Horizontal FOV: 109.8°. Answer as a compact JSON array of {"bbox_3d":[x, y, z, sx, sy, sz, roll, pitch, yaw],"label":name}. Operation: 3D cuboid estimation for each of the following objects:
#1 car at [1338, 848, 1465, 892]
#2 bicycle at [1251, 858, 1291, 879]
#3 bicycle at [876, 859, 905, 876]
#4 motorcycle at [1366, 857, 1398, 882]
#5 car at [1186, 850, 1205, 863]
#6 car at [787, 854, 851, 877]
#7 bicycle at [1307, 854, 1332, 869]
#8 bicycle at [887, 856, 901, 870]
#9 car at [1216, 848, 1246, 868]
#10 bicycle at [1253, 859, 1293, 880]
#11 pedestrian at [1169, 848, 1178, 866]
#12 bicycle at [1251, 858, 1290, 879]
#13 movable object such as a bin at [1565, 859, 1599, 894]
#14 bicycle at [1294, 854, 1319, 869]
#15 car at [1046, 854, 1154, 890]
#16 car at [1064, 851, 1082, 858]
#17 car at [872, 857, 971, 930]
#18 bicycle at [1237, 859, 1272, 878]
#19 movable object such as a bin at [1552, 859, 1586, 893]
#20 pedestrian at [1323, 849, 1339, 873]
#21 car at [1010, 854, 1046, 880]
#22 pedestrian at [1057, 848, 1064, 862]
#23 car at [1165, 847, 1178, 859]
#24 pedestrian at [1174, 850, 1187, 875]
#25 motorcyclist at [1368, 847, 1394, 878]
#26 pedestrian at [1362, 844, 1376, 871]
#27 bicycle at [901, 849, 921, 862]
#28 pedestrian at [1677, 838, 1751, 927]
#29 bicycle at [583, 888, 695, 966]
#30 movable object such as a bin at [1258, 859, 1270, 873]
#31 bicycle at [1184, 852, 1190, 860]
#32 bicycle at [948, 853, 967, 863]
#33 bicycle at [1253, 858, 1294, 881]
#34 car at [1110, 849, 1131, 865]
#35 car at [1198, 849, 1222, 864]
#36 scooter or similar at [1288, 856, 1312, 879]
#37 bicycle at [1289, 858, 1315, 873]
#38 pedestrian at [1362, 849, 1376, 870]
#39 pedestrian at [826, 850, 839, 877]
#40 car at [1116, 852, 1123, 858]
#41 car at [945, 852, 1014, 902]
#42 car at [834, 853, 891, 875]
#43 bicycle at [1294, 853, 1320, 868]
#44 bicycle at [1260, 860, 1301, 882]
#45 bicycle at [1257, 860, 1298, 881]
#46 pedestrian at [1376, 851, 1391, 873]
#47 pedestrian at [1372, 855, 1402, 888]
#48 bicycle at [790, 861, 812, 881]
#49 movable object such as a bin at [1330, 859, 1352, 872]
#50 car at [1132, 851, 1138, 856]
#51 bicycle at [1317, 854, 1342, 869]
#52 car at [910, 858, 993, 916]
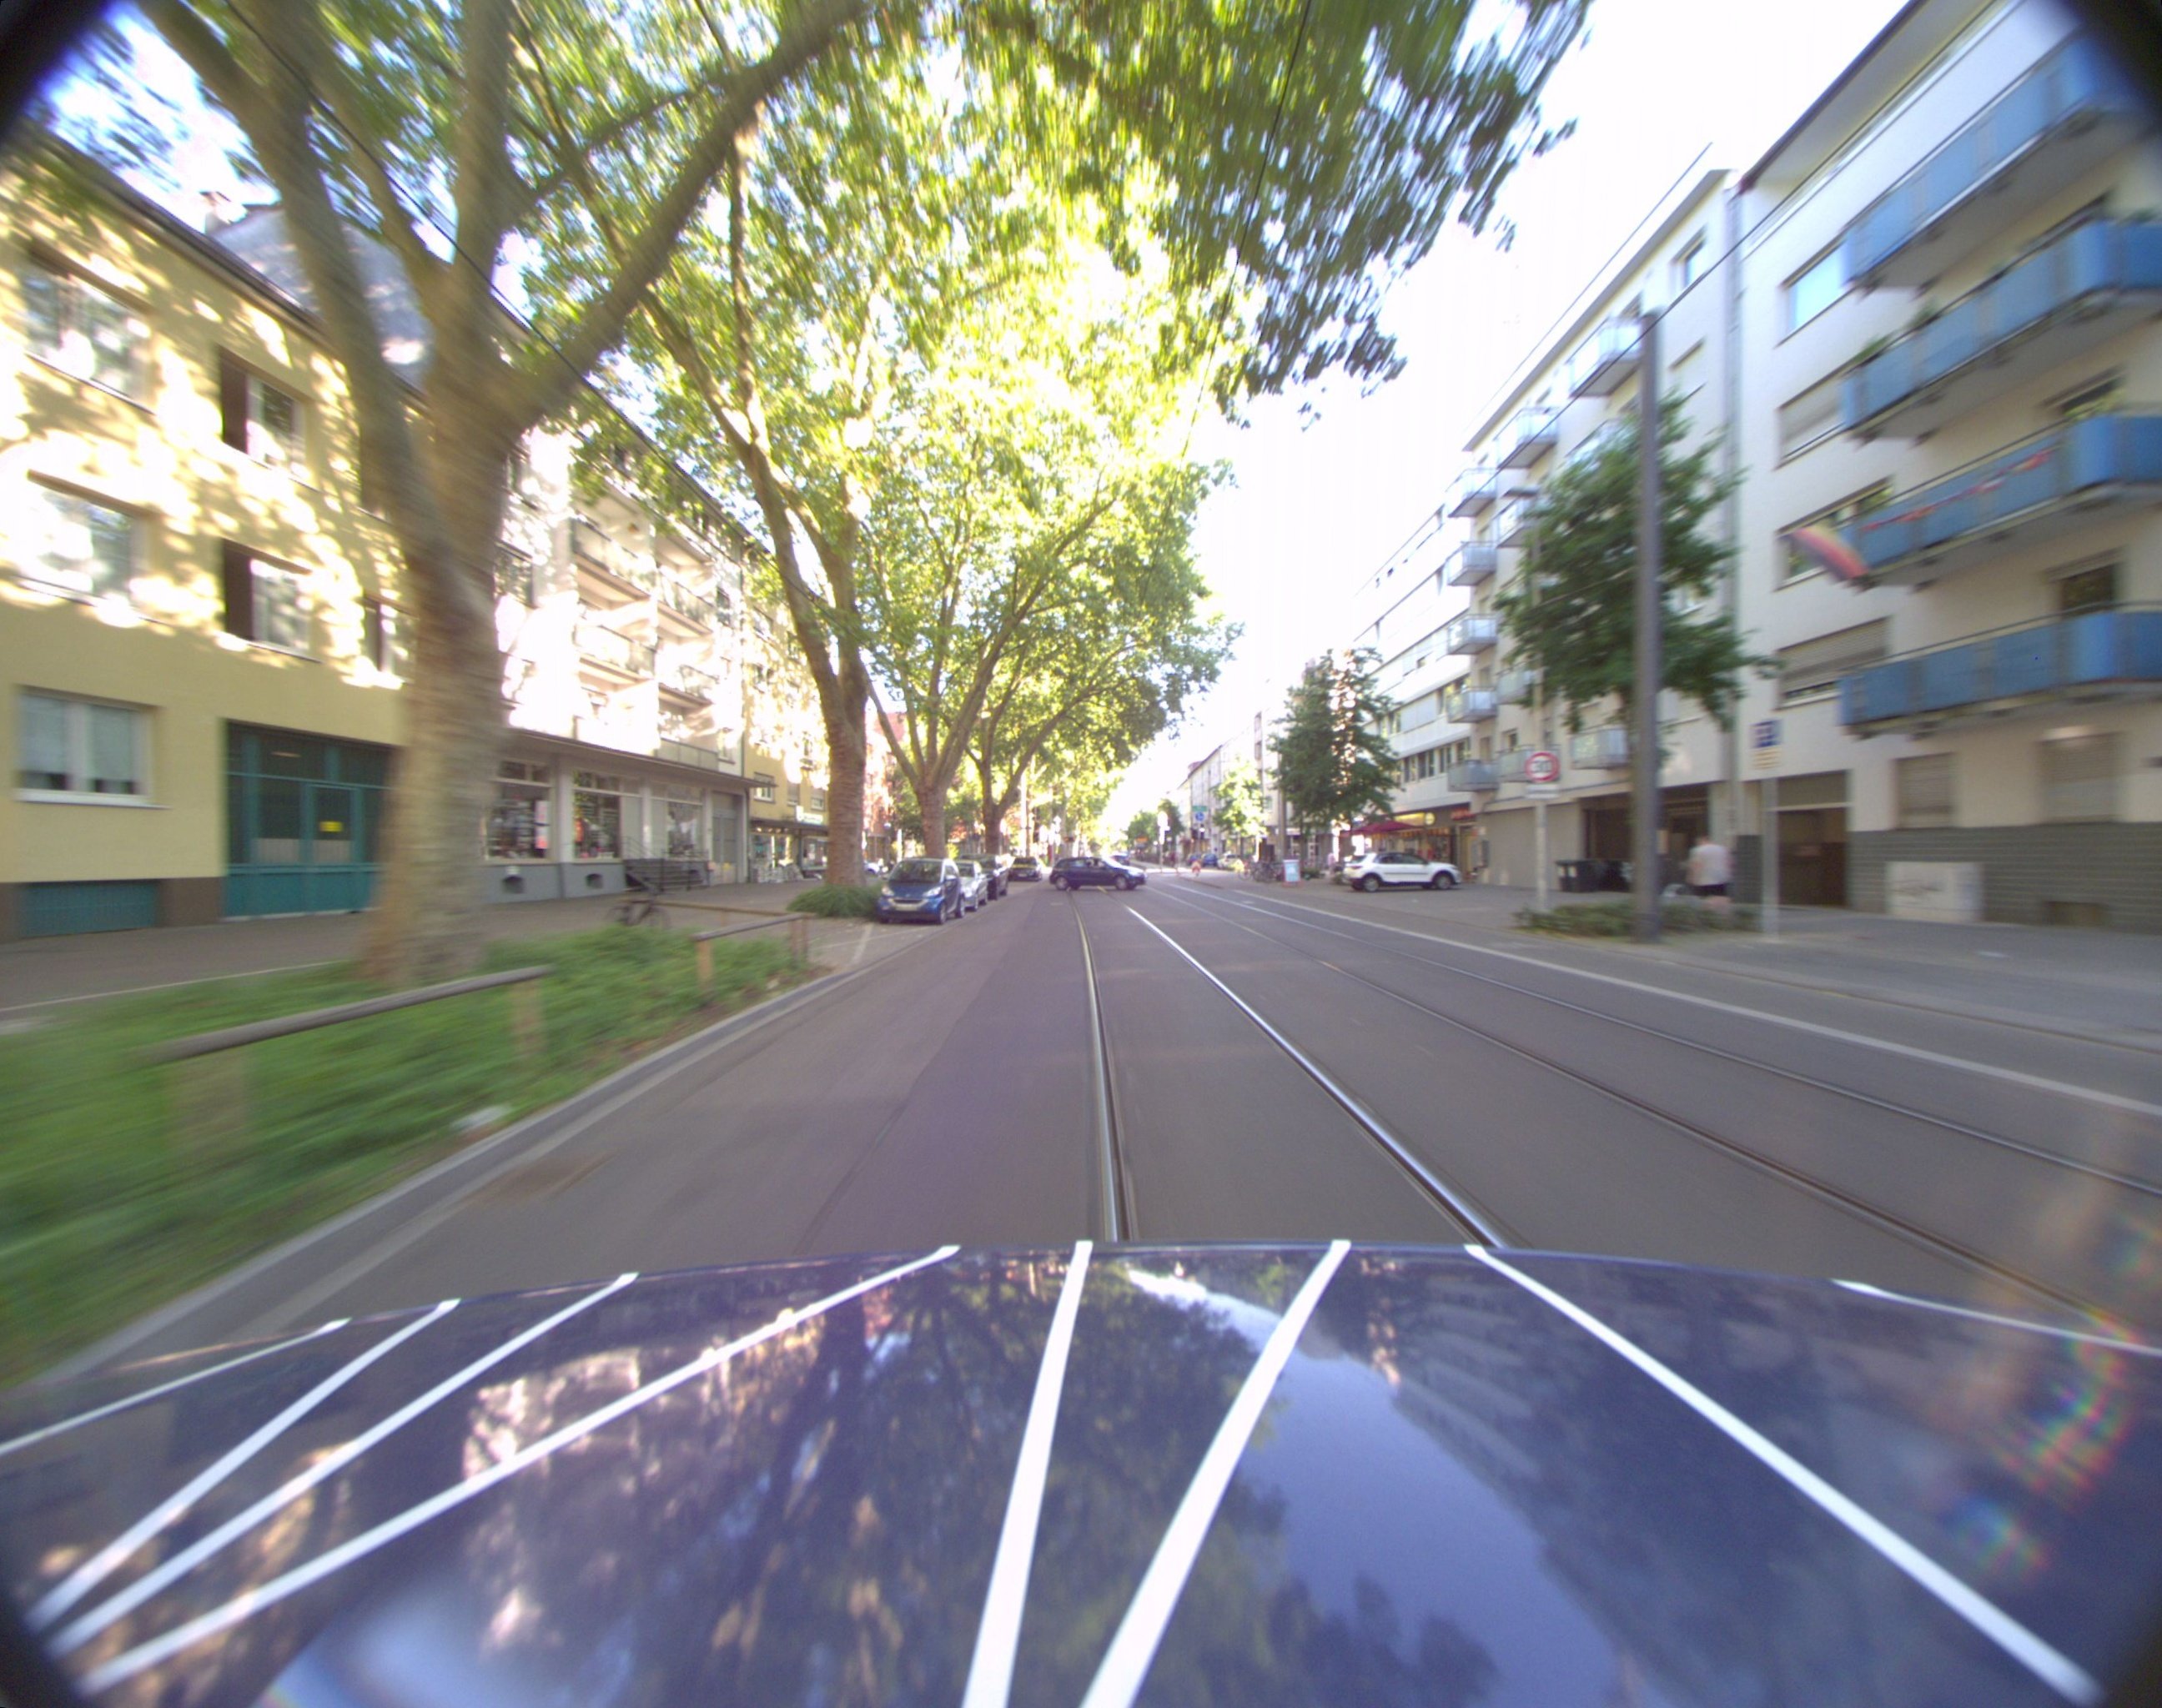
[{"bbox_3d":[11.947,0.574,28.522,4.021,1.467,1.852,-1,1,4],"label":"car"},{"bbox_3d":[9.768,0.761,39.075,1.834,1.001,0.657,-2,1,-3],"label":"bicycle"},{"bbox_3d":[-13.015,0.915,51.917,1.799,1.150,0.744,1,1,-20],"label":"bicycle"},{"bbox_3d":[14.218,0.722,35.973,0.851,1.157,1.915,0,0,3],"label":"motorcycle"},{"bbox_3d":[13.842,0.265,92.373,1.799,1.455,4.282,0,0,2],"label":"car"},{"bbox_3d":[-18.534,0.822,53.944,3.871,1.542,1.867,0,-2,1],"label":"car"},{"bbox_3d":[18.552,0.574,59.041,1.784,1.150,0.573,0,1,32],"label":"bicycle"},{"bbox_3d":[-15.902,0.767,64.617,0.601,1.150,1.698,1,1,5],"label":"bicycle"},{"bbox_3d":[13.559,0.333,69.037,1.882,1.641,4.358,-2,0,1],"label":"car"},{"bbox_3d":[9.718,0.770,38.430,1.834,1.001,0.657,-2,1,-3],"label":"bicycle"},{"bbox_3d":[8.213,0.231,67.492,0.655,1.576,0.772,0,1,2],"label":"pedestrian"},{"bbox_3d":[9.872,0.752,39.514,1.834,1.001,0.657,-2,1,-3],"label":"bicycle"},{"bbox_3d":[15.376,0.689,23.346,0.674,1.049,0.574,0,1,3],"label":"movable object such as a bin"},{"bbox_3d":[17.546,0.587,59.137,1.784,1.150,0.573,0,1,32],"label":"bicycle"},{"bbox_3d":[0.809,0.769,32.638,4.216,1.429,1.873,-1,1,22],"label":"car"},{"bbox_3d":[-1.663,0.083,168.403,3.871,1.521,2.000,0,0,3],"label":"car"},{"bbox_3d":[-3.736,0.868,18.192,1.567,1.510,2.910,1,1,4],"label":"car"},{"bbox_3d":[9.362,0.778,41.013,1.695,1.001,0.657,-2,1,-3],"label":"bicycle"},{"bbox_3d":[15.398,0.693,23.986,0.679,1.049,0.622,0,1,3],"label":"movable object such as a bin"},{"bbox_3d":[16.136,0.430,49.040,0.727,1.547,0.768,0,1,-4],"label":"pedestrian"},{"bbox_3d":[-3.104,0.727,44.993,1.769,1.454,5.011,0,0,0],"label":"car"},{"bbox_3d":[-2.325,0.130,87.126,0.768,1.650,0.917,0,1,-3],"label":"pedestrian"},{"bbox_3d":[15.012,-0.231,126.000,1.808,1.923,4.049,0,0,0],"label":"car"},{"bbox_3d":[6.703,0.545,51.073,0.759,1.661,0.768,0,1,-4],"label":"pedestrian"},{"bbox_3d":[14.205,0.384,36.022,0.875,1.432,1.016,0,1,3],"label":"motorcyclist"},{"bbox_3d":[18.039,0.210,47.637,0.767,1.650,0.750,0,1,15],"label":"pedestrian"},{"bbox_3d":[-16.872,0.143,75.524,1.930,1.150,0.573,1,1,17],"label":"bicycle"},{"bbox_3d":[12.312,0.544,14.798,0.765,1.681,0.794,-1,1,0],"label":"pedestrian"},{"bbox_3d":[-6.892,1.102,11.825,1.964,1.000,0.512,3,1,27],"label":"bicycle"},{"bbox_3d":[12.507,0.809,51.842,0.541,0.927,0.649,0,1,-15],"label":"movable object such as a bin"},{"bbox_3d":[15.971,0.265,114.408,0.572,1.150,2.037,0,0,-4],"label":"bicycle"},{"bbox_3d":[-14.470,0.502,89.083,2.035,1.150,0.572,1,1,7],"label":"bicycle"},{"bbox_3d":[9.647,0.776,38.112,1.834,1.058,0.657,-2,1,-3],"label":"bicycle"},{"bbox_3d":[4.066,0.288,78.043,1.876,1.580,4.146,0,-1,-1],"label":"car"},{"bbox_3d":[13.723,0.289,81.142,1.961,1.535,4.389,0,0,2],"label":"car"},{"bbox_3d":[11.267,0.696,39.047,1.082,1.169,0.498,-2,1,0],"label":"scooter or similar"},{"bbox_3d":[17.739,0.947,61.021,2.040,1.150,0.571,0,1,-21],"label":"bicycle"},{"bbox_3d":[16.265,0.328,42.980,0.513,1.191,0.563,0,1,-15],"label":"pedestrian"},{"bbox_3d":[-15.970,0.594,48.770,0.704,1.673,0.660,0,1,-26],"label":"pedestrian"},{"bbox_3d":[10.557,0.173,211.237,1.766,1.579,4.000,0,0,0],"label":"car"},{"bbox_3d":[-3.653,0.780,28.104,1.862,1.594,4.781,1,1,0],"label":"car"},{"bbox_3d":[-17.151,0.769,59.795,3.871,1.683,1.866,0,1,1],"label":"car"},{"bbox_3d":[17.858,0.509,60.058,1.862,1.150,0.572,0,1,6],"label":"bicycle"},{"bbox_3d":[9.433,0.808,35.952,1.695,1.001,0.657,-2,1,-3],"label":"bicycle"},{"bbox_3d":[9.637,0.802,37.243,1.834,1.001,0.657,-2,1,-3],"label":"bicycle"},{"bbox_3d":[16.963,0.449,42.613,0.565,1.191,0.512,-1,1,-33],"label":"pedestrian"},{"bbox_3d":[12.313,0.699,30.606,0.714,1.290,0.911,0,1,-12],"label":"pedestrian"},{"bbox_3d":[-14.480,0.881,39.367,0.572,0.991,1.780,1,1,-3],"label":"bicycle"},{"bbox_3d":[17.048,0.756,49.875,1.197,0.753,0.665,-2,1,-20],"label":"movable object such as a bin"},{"bbox_3d":[16.041,-0.263,225.569,1.998,1.521,3.679,0,0,4],"label":"car"},{"bbox_3d":[19.438,0.558,59.430,1.786,1.150,0.572,0,1,12],"label":"bicycle"},{"bbox_3d":[-3.746,0.912,22.734,1.821,1.427,4.601,1,1,-2],"label":"car"}]
